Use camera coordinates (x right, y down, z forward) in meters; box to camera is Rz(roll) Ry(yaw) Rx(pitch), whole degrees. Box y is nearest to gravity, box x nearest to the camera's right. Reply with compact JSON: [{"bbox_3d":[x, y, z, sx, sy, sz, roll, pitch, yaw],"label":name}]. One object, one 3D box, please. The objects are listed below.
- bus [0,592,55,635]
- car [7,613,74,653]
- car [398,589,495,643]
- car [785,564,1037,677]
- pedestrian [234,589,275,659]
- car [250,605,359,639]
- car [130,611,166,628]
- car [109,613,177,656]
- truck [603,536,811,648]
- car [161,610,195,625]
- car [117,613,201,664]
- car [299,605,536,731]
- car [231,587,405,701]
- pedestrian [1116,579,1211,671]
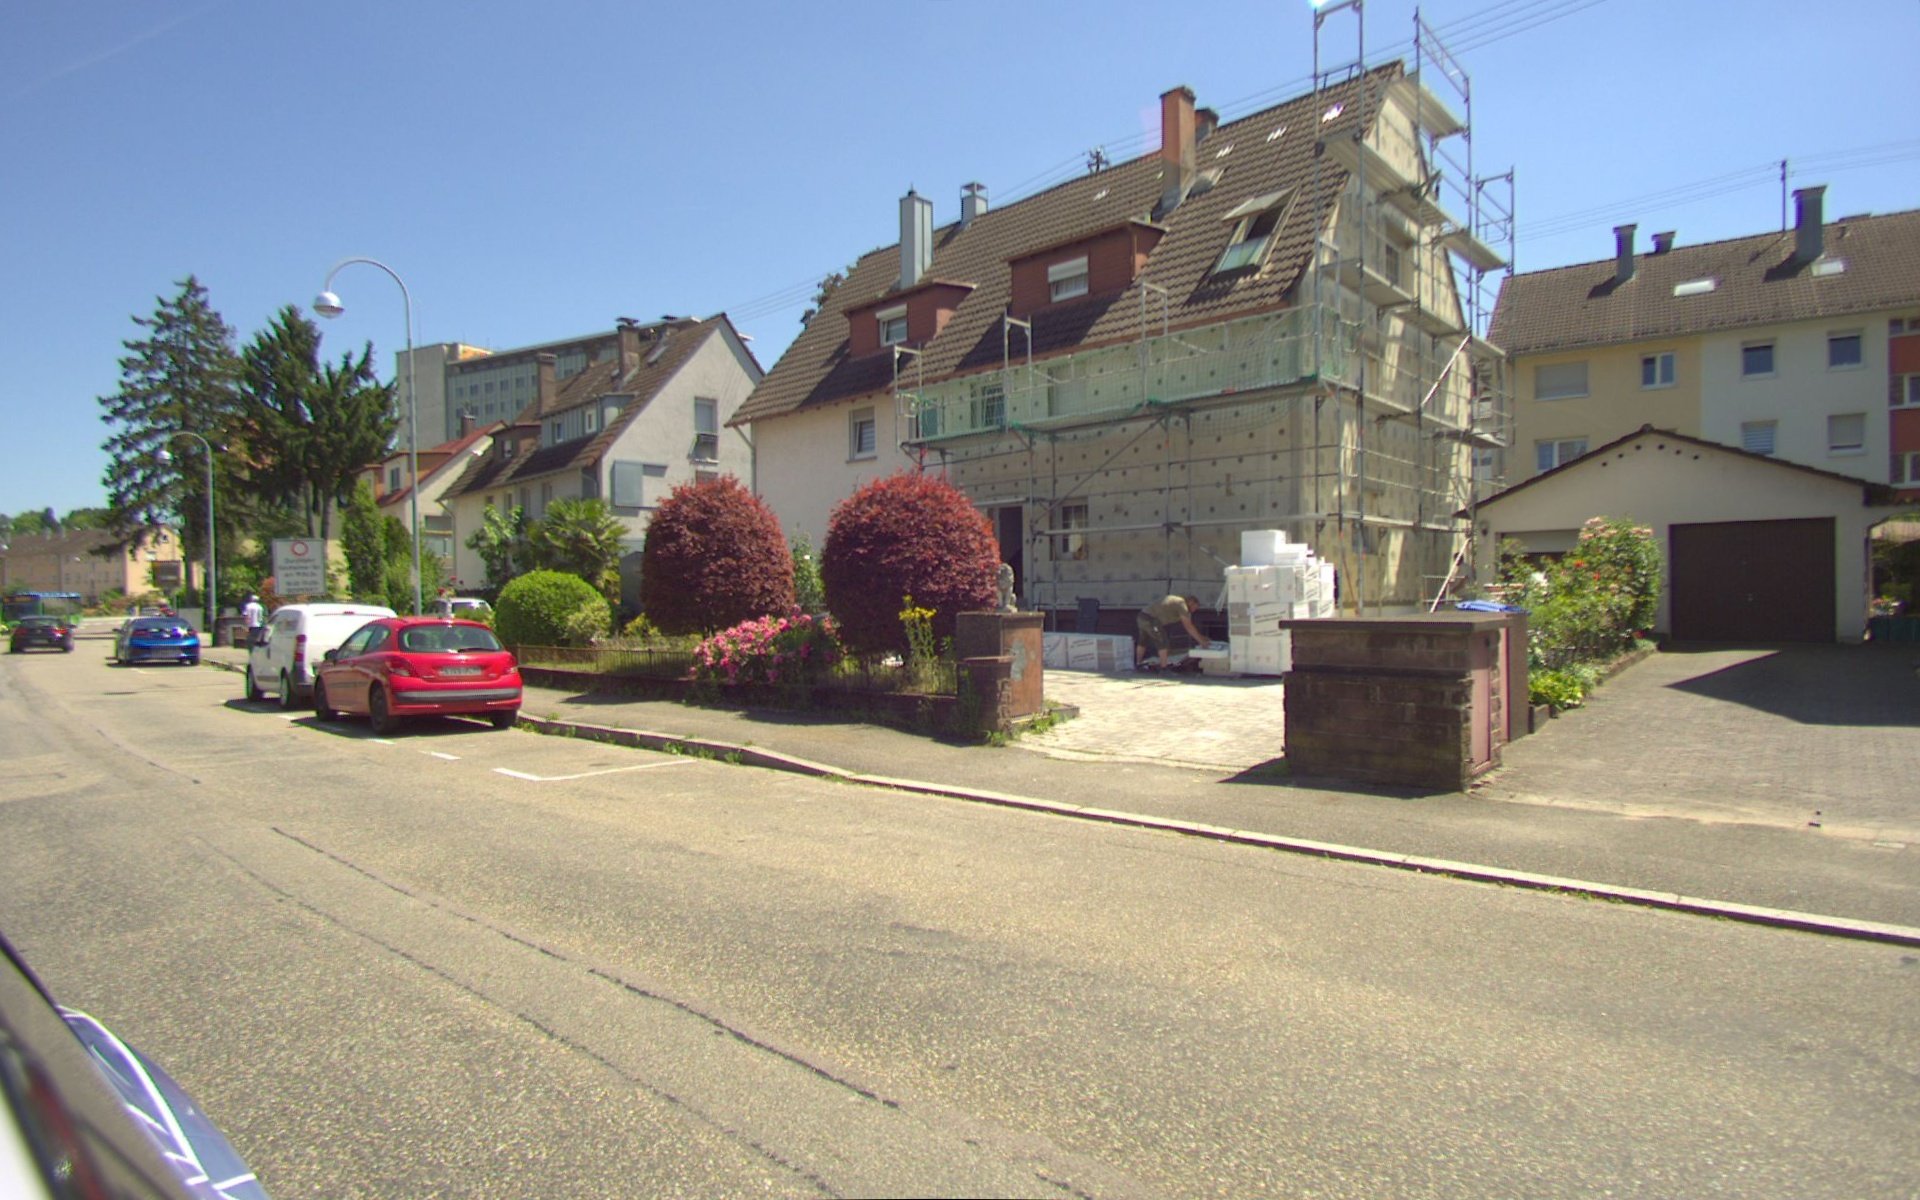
[{"bbox_3d":[-74.335,1.028,80.561,2.867,3.103,12.584,-2,1,-40],"label":"bus"},{"bbox_3d":[-35.708,1.229,39.379,1.710,1.427,4.007,0,0,-39],"label":"car"},{"bbox_3d":[-17.505,0.481,34.401,1.748,1.519,4.367,-4,4,-43],"label":"car"},{"bbox_3d":[-0.878,0.304,16.483,3.999,1.525,1.668,-1,4,42],"label":"car"},{"bbox_3d":[-20.056,0.667,28.757,0.681,1.903,1.020,-8,5,-40],"label":"pedestrian"},{"bbox_3d":[-33.051,1.076,51.054,4.411,1.452,1.851,-3,2,-38],"label":"car"},{"bbox_3d":[-74.208,1.797,92.495,1.716,1.516,4.156,1,-1,-27],"label":"car"},{"bbox_3d":[-28.926,1.199,35.790,1.560,1.434,3.944,1,-2,-43],"label":"car"},{"bbox_3d":[-4.999,-0.211,20.374,1.546,1.952,3.728,-1,3,43],"label":"truck"},{"bbox_3d":[-78.970,1.770,102.229,1.780,1.500,4.401,0,-1,-24],"label":"car"},{"bbox_3d":[-24.565,1.129,30.976,1.747,1.450,4.368,1,-1,-42],"label":"car"},{"bbox_3d":[-7.611,0.849,14.035,4.059,1.489,1.741,-1,-2,44],"label":"car"},{"bbox_3d":[-11.189,0.717,17.526,3.888,1.749,1.703,-1,-2,45],"label":"car"},{"bbox_3d":[3.010,0.350,14.989,1.207,1.273,0.698,0,4,31],"label":"pedestrian"}]
